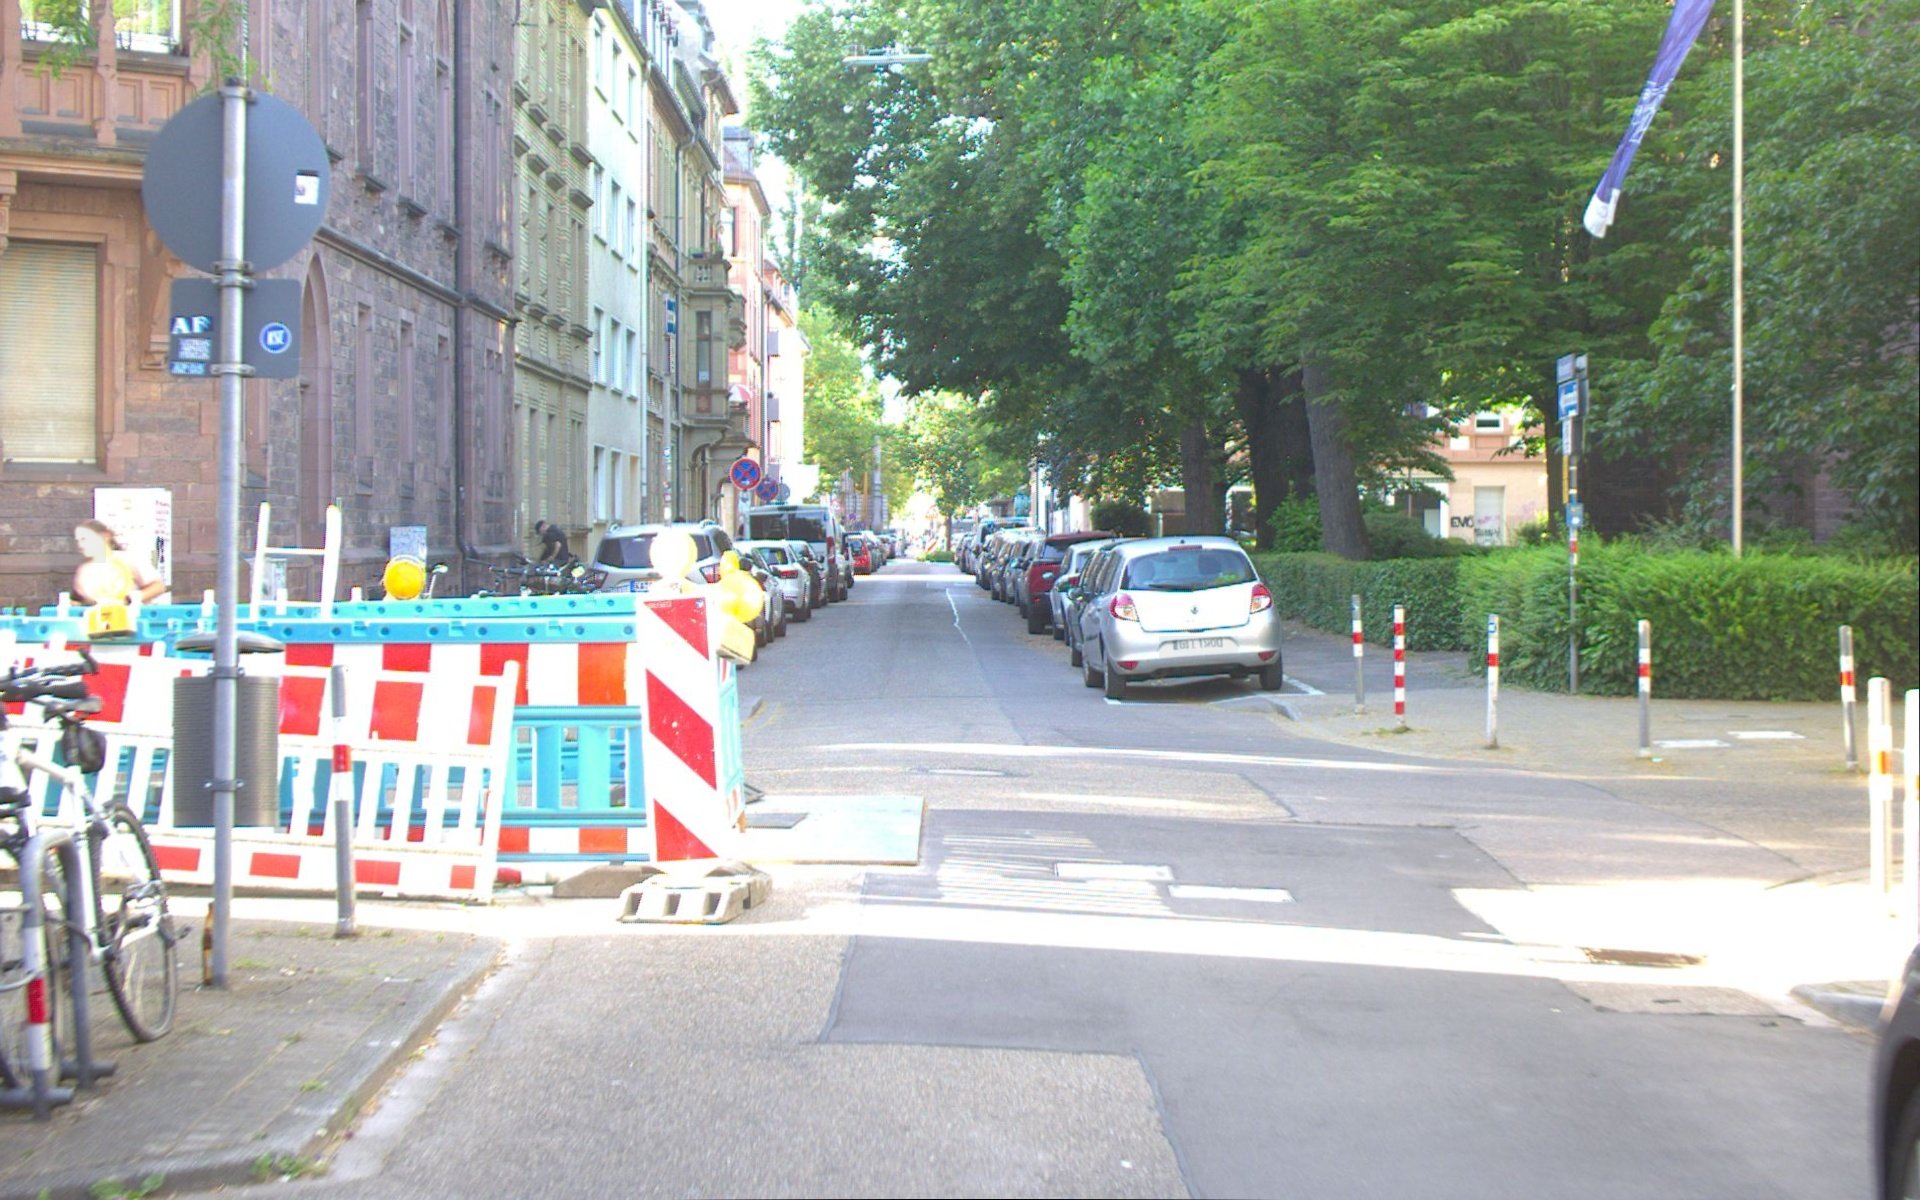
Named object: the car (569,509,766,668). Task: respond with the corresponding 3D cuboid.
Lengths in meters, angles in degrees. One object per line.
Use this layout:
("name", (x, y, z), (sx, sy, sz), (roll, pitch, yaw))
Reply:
("car", (-3.326, -0.153, 39.804), (1.882, 1.701, 4.000), (-2, 1, 0))

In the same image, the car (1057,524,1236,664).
("car", (2.082, -0.093, 39.302), (1.723, 1.517, 4.000), (0, 1, -1))

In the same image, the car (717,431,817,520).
("car", (-3.664, -2.404, 65.709), (1.792, 1.568, 4.001), (0, 4, -2))

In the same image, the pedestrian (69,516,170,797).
("pedestrian", (-5.270, 0.345, 21.576), (0.524, 1.734, 0.558), (0, 1, -5))

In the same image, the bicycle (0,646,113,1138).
("bicycle", (-2.487, 0.711, 8.261), (0.425, 1.136, 1.666), (3, 1, 1))

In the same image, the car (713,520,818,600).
("car", (-3.938, -0.821, 70.051), (1.993, 1.568, 4.000), (0, 1, -1))

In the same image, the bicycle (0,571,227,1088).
("bicycle", (-2.327, 0.564, 9.268), (0.399, 1.223, 1.505), (-1, 3, -1))

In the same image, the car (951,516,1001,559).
("car", (0.653, -2.618, 143.029), (1.993, 1.722, 4.000), (-1, 1, -1))

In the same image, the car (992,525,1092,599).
("car", (1.759, -0.841, 75.136), (1.993, 1.568, 4.000), (0, 1, -1))

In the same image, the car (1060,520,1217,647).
("car", (2.292, -0.235, 44.943), (1.741, 1.568, 4.000), (0, 1, -1))

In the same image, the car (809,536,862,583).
("car", (-4.642, -1.510, 128.036), (1.950, 1.703, 4.000), (0, 1, -2))

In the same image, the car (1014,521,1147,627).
("car", (1.888, -0.431, 54.964), (1.894, 1.619, 4.000), (0, 1, -1))

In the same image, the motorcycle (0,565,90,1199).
("motorcycle", (-2.871, 0.685, 5.947), (2.511, 1.477, 0.904), (0, 1, -27))

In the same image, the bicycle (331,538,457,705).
("bicycle", (-5.011, 0.157, 30.583), (0.683, 1.418, 2.798), (0, 1, -1))

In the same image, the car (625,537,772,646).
("car", (-3.477, -0.148, 46.328), (1.725, 1.388, 4.000), (0, 1, -1))

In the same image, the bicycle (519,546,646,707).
("bicycle", (-3.319, 0.200, 30.060), (0.682, 1.340, 2.503), (0, 1, -16))

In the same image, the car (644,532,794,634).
("car", (-3.517, -0.273, 50.841), (1.882, 1.406, 4.000), (-2, 1, 0))

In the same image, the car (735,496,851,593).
("car", (-3.735, -1.256, 77.831), (2.309, 2.107, 5.170), (0, 1, 1))

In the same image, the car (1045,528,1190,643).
("car", (2.256, -0.243, 50.136), (1.841, 1.590, 4.000), (0, 1, -1))

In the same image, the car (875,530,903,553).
("car", (-5.072, -4.211, 247.188), (1.993, 1.641, 4.000), (0, 1, -1))

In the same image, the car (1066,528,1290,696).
("car", (2.079, 0.069, 33.771), (1.723, 1.517, 4.001), (-1, 1, -3))

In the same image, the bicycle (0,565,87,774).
("bicycle", (-6.721, 0.454, 23.966), (0.683, 1.316, 2.143), (0, 3, 1))

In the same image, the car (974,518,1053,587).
("car", (1.317, -1.207, 86.107), (1.829, 1.698, 4.001), (0, 1, -1))

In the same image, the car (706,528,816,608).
("car", (-3.478, -0.589, 60.525), (1.771, 1.349, 4.000), (0, 1, -1))

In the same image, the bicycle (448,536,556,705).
("bicycle", (-4.029, 0.149, 30.106), (0.572, 1.418, 2.503), (0, 1, -16))

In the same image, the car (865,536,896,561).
("car", (-5.218, -3.380, 225.247), (1.993, 1.641, 4.000), (0, 1, -1))

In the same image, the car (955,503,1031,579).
("car", (0.979, -1.799, 105.264), (2.160, 2.248, 4.526), (0, 1, -1))

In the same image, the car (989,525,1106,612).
("car", (1.620, -0.607, 64.838), (1.993, 1.568, 4.000), (0, 1, -1))

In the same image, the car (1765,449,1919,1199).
("car", (2.492, 0.593, 4.254), (1.900, 1.634, 4.391), (0, 1, -1))

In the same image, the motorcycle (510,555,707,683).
("motorcycle", (-3.432, 0.165, 33.413), (0.664, 1.203, 2.310), (-1, 1, -42))

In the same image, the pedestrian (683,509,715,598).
("pedestrian", (-5.893, -1.054, 77.548), (0.684, 2.007, 0.692), (0, 1, -8))

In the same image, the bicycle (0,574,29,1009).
("bicycle", (-2.918, 0.582, 9.138), (0.399, 1.223, 1.874), (-1, 3, -1))
